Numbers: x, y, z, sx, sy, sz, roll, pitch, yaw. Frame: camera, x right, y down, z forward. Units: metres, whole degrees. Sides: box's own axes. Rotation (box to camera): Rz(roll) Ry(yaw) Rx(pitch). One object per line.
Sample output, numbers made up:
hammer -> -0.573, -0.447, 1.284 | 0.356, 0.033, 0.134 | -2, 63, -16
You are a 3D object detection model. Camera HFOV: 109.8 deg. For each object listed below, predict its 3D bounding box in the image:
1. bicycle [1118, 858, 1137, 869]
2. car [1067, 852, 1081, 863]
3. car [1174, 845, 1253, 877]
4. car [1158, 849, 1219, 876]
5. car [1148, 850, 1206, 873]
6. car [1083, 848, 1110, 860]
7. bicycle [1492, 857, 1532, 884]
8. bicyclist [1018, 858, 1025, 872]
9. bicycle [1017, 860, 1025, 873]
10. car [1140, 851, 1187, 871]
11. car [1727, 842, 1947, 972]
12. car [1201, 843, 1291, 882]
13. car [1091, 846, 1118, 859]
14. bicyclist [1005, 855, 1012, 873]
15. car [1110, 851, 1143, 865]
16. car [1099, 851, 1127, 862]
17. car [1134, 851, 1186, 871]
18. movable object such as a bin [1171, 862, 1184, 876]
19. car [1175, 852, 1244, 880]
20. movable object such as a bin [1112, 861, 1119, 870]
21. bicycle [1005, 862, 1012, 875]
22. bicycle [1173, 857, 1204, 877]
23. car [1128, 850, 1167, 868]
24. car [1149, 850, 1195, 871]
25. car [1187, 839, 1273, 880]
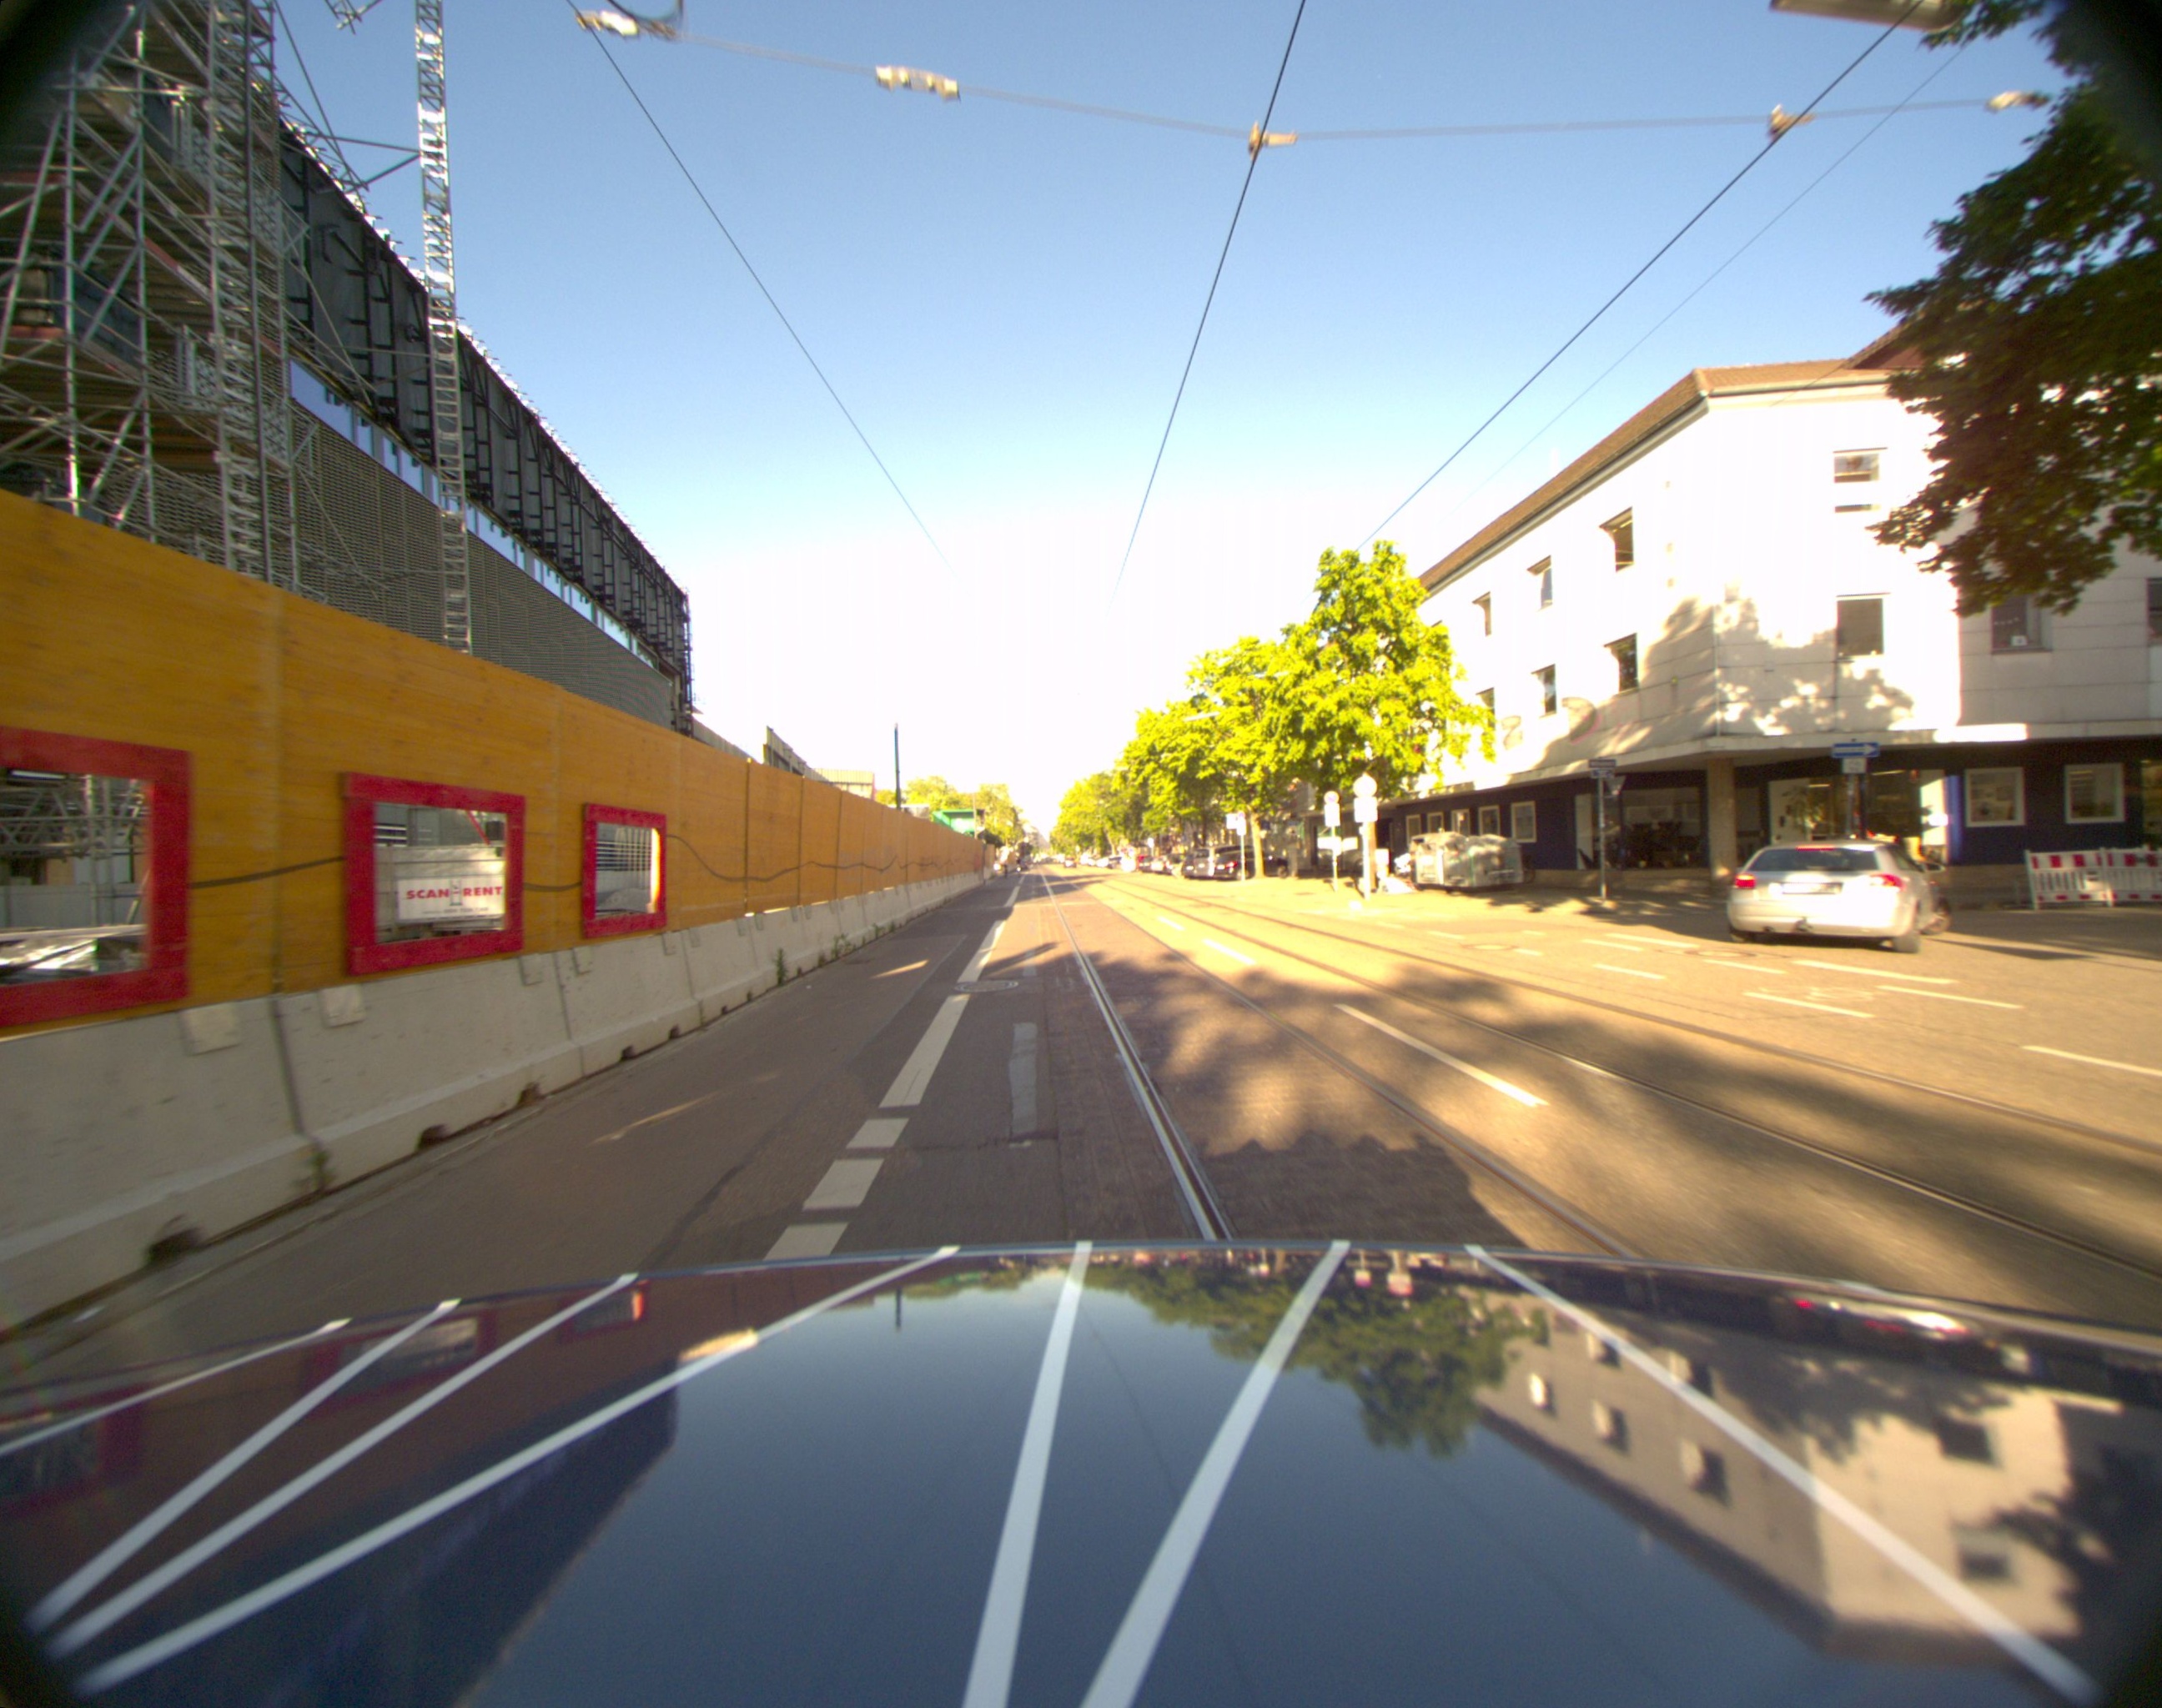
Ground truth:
bicycle -> 5.348, 1.051, 86.828 | 2.008, 1.081, 0.567 | -6, 0, -1
car -> -1.046, 0.515, 116.938 | 1.933, 1.620, 4.247 | -2, 0, -3
car -> 7.873, 0.407, 45.038 | 4.254, 1.675, 1.807 | -2, 0, -24
car -> 7.954, 0.606, 56.400 | 4.116, 1.668, 1.840 | -4, 0, -5
car -> 7.546, 0.593, 59.779 | 4.123, 1.503, 1.837 | -4, 0, -29
car -> 2.478, -0.046, 122.539 | 4.004, 1.667, 1.699 | -3, 0, -23
bicycle -> 13.985, 0.531, 24.681 | 0.385, 0.834, 1.484 | -2, 0, -3
bicyclist -> -5.368, 1.003, 68.505 | 0.653, 1.230, 0.353 | -1, 0, -5
bicycle -> -5.398, 1.141, 68.545 | 0.669, 1.148, 2.275 | -2, 0, -4
car -> 7.138, 0.600, 65.580 | 3.689, 1.462, 1.749 | -4, 1, -32
car -> 10.640, 0.600, 10.596 | 4.179, 1.427, 1.710 | -2, 0, -39
car -> 8.716, 0.439, 40.084 | 4.301, 1.657, 1.908 | -5, 1, -27
car -> 4.156, -0.310, 134.747 | 4.450, 2.105, 2.162 | -2, 0, -6
bicyclist -> -6.512, 0.929, 68.301 | 0.558, 1.603, 0.576 | -1, 0, -5
car -> 5.714, 0.498, 95.898 | 3.902, 1.599, 1.572 | -2, 0, -10
car -> 4.731, 0.320, 111.744 | 3.652, 1.520, 1.883 | -2, 0, -23
car -> 7.082, 0.605, 68.178 | 4.208, 1.482, 1.939 | -4, 0, -30
movable object such as a bin -> 6.356, 1.006, 50.104 | 0.577, 0.908, 0.574 | -4, 0, -19
car -> 8.192, 0.745, 48.337 | 3.872, 1.468, 1.840 | -4, 1, -25
movable object such as a bin -> 4.136, 1.354, 90.295 | 0.685, 1.071, 0.710 | -5, 0, -2
bicycle -> -6.524, 1.280, 68.404 | 0.559, 1.120, 2.275 | -1, 0, -6
bicycle -> 7.062, 0.861, 50.033 | 1.973, 1.138, 0.492 | -4, 1, -21
car -> 6.790, 0.491, 77.757 | 3.630, 1.544, 1.665 | -4, -1, -29
car -> 7.514, 0.531, 62.659 | 3.378, 1.484, 1.610 | -4, 0, -31
car -> 8.408, 0.317, 42.839 | 4.373, 1.975, 1.945 | -4, 1, -25
